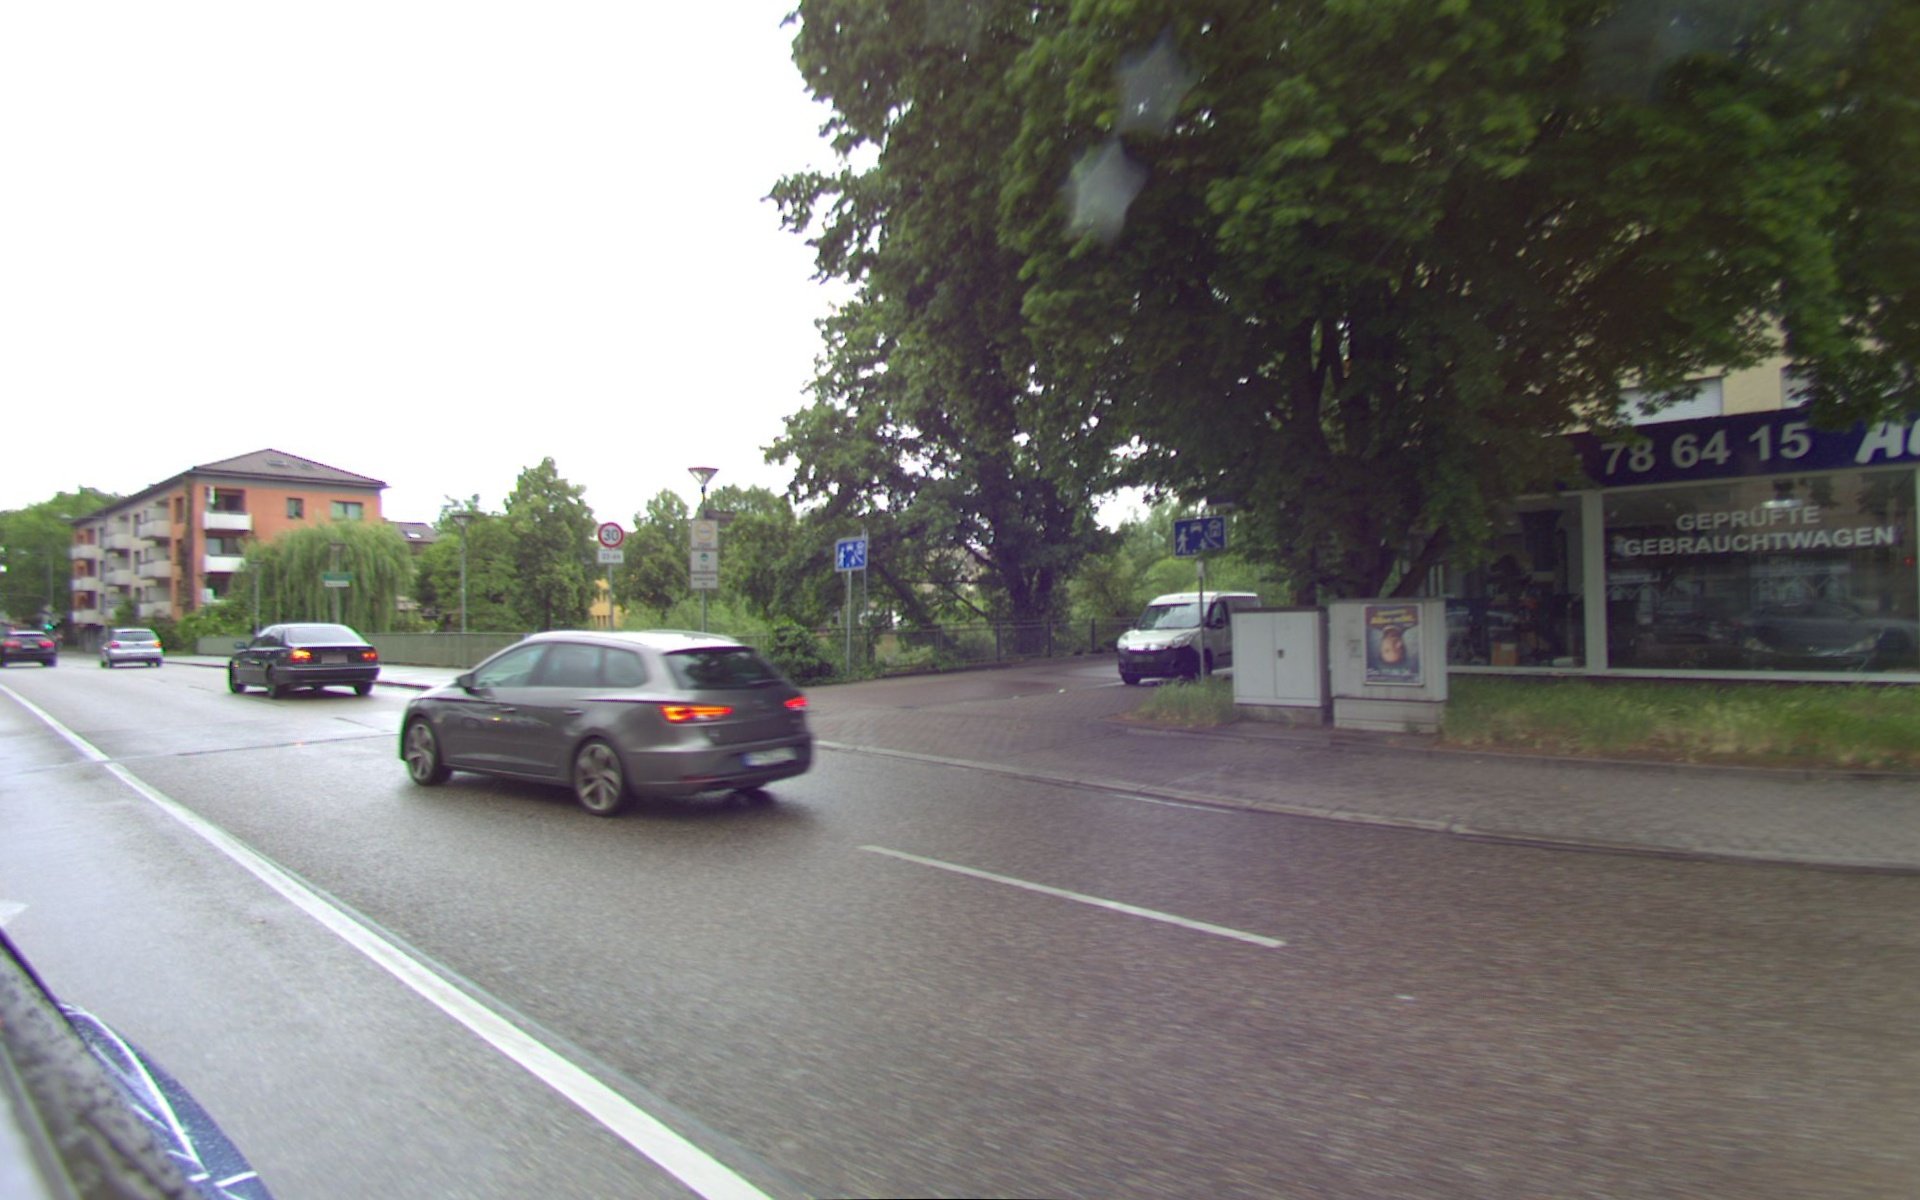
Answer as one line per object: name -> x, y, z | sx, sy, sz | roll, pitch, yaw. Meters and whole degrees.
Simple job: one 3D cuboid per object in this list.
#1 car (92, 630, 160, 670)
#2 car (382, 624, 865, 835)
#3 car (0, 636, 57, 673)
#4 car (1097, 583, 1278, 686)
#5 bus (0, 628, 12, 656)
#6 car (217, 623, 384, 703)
car -> -32.087, 1.895, 38.903 | 3.687, 1.430, 1.608 | -2, -2, 44
car -> -3.054, 0.947, 8.955 | 4.192, 1.461, 1.797 | -1, -1, 32
car -> -38.344, 2.200, 41.443 | 4.094, 1.427, 1.690 | -2, -3, 44
car -> 4.885, 0.688, 21.217 | 1.995, 1.868, 4.701 | -4, -3, 35
bus -> -105.702, 4.548, 110.327 | 12.086, 2.962, 2.663 | -2, -3, 44
car -> -13.549, 1.208, 20.687 | 4.426, 1.471, 1.710 | -1, -2, 41
